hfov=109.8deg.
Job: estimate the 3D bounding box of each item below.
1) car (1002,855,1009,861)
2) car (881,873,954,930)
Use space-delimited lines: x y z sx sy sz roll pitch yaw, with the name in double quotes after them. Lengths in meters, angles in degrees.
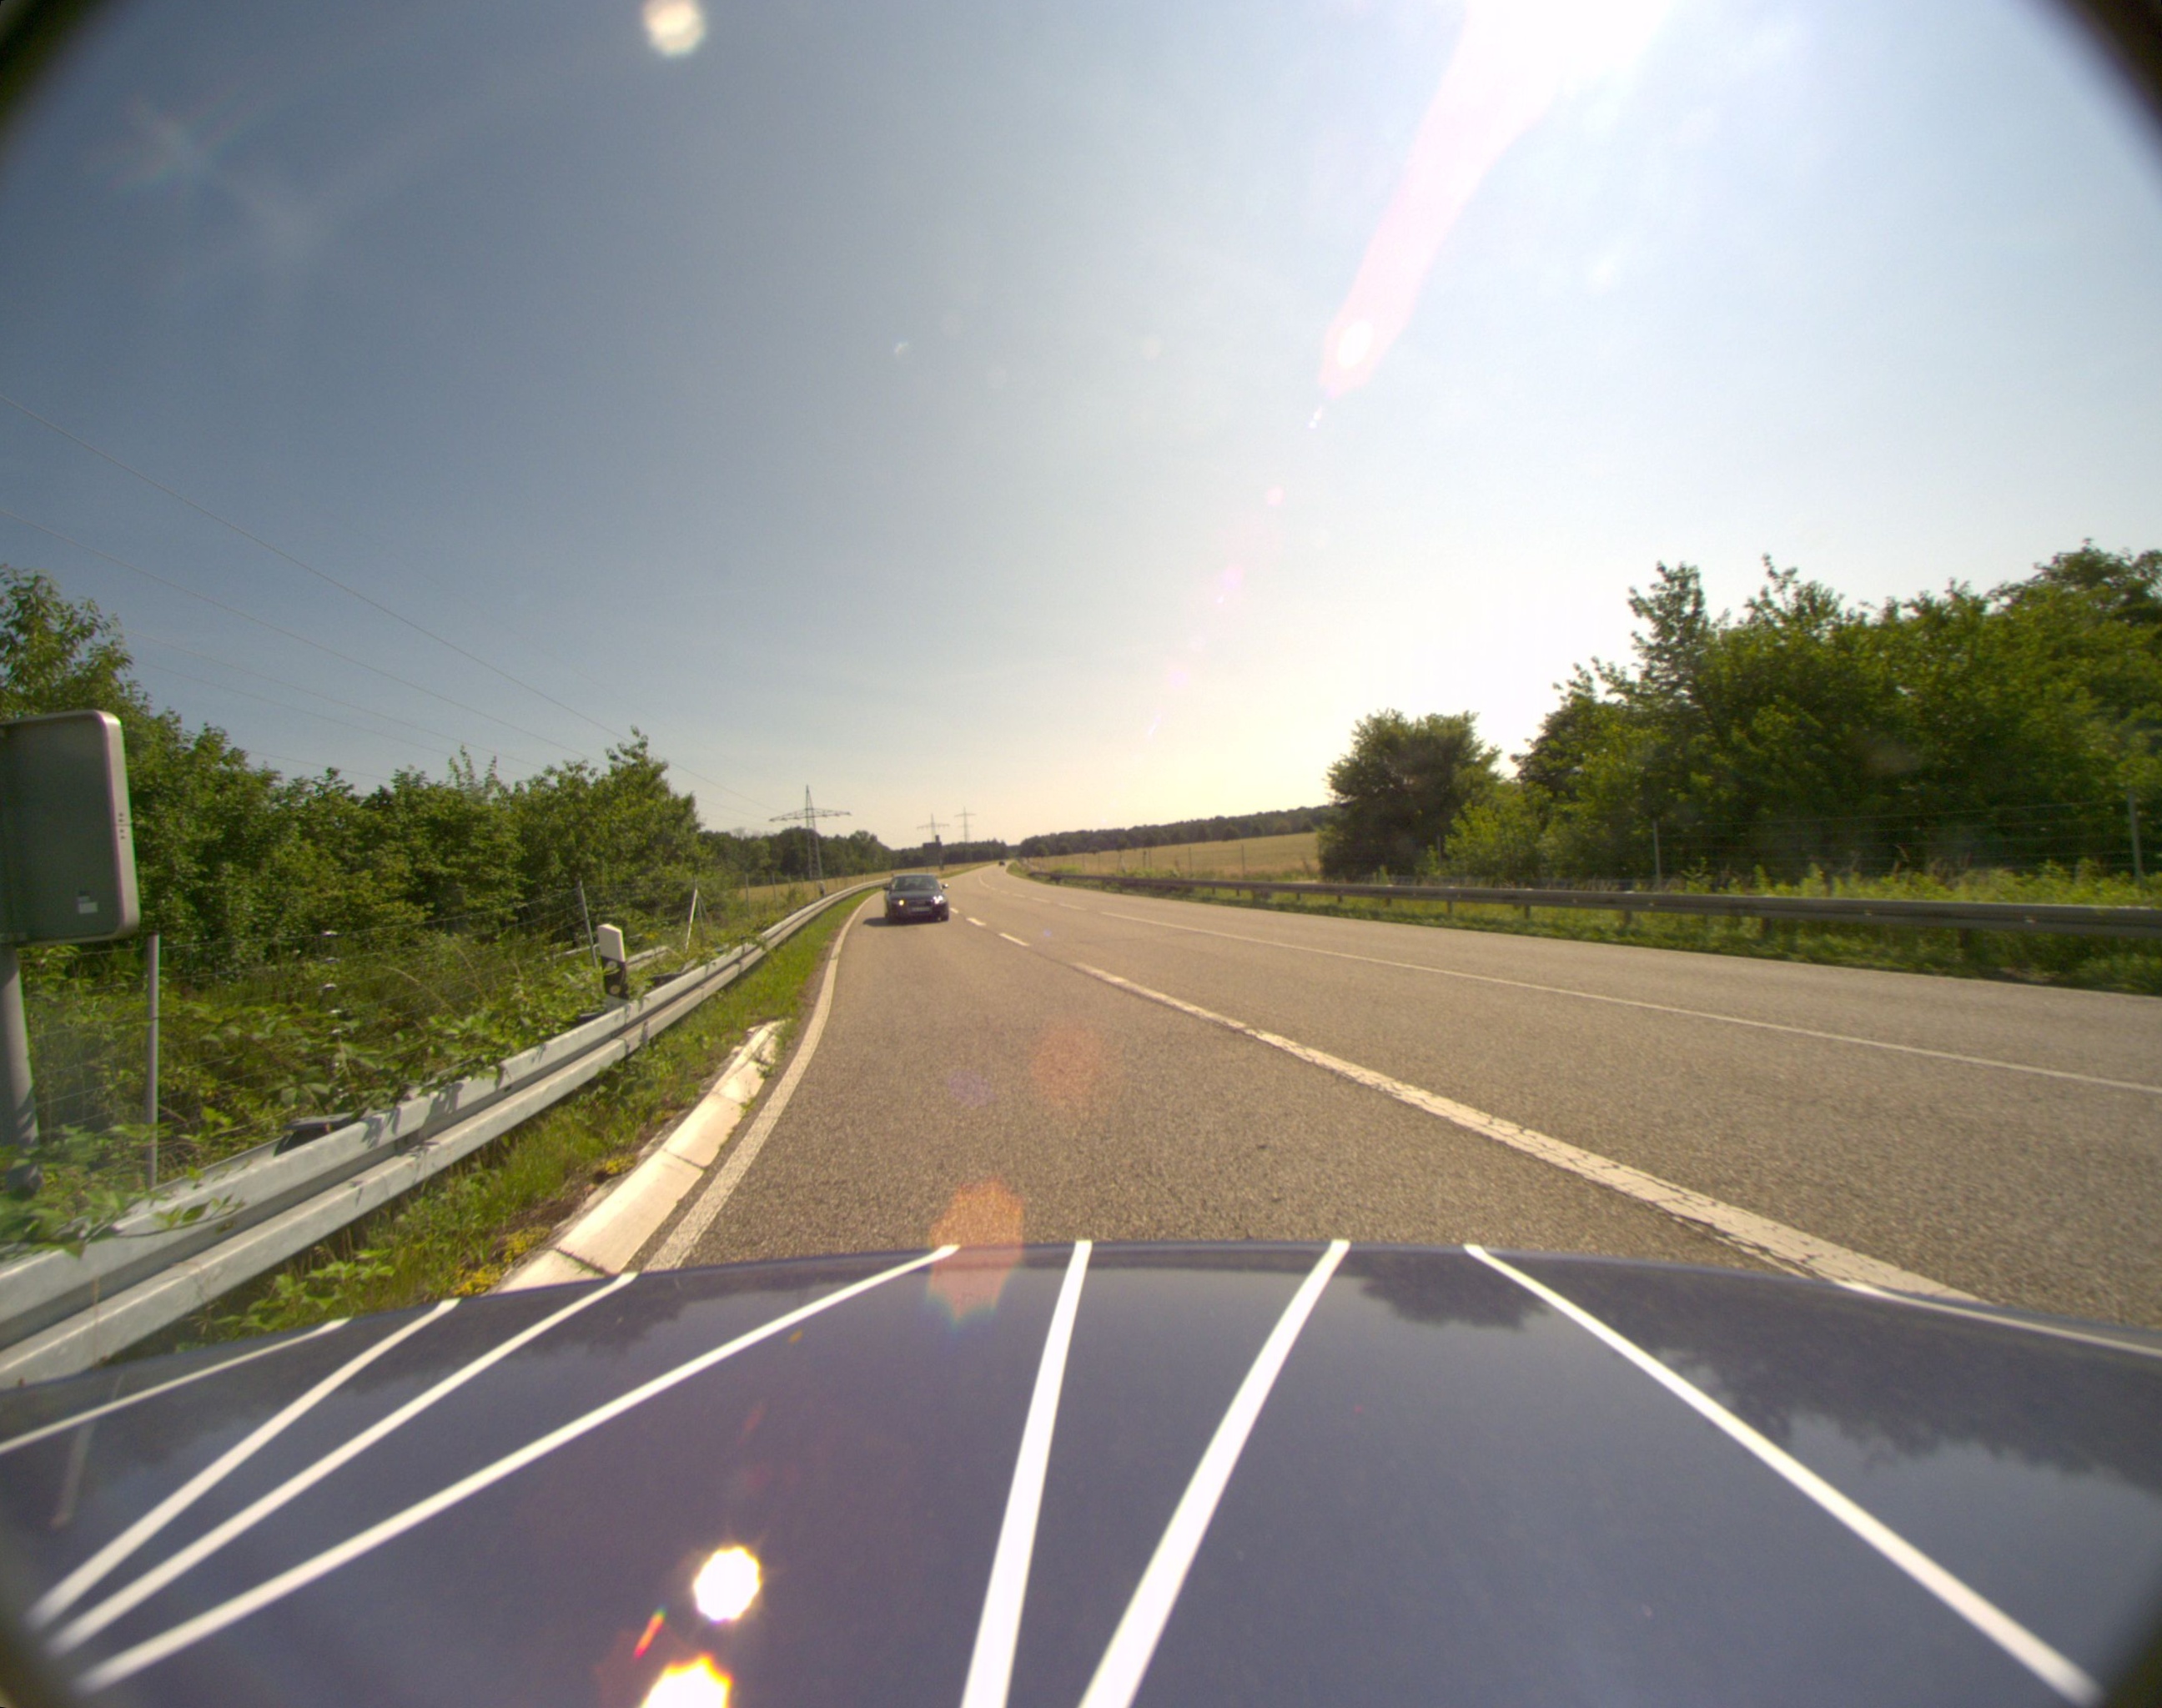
-21.013 1.084 212.072 1.834 1.499 4.159 -1 0 -7 "car"
-5.043 1.363 23.076 1.889 1.448 4.070 -2 0 -16 "car"
